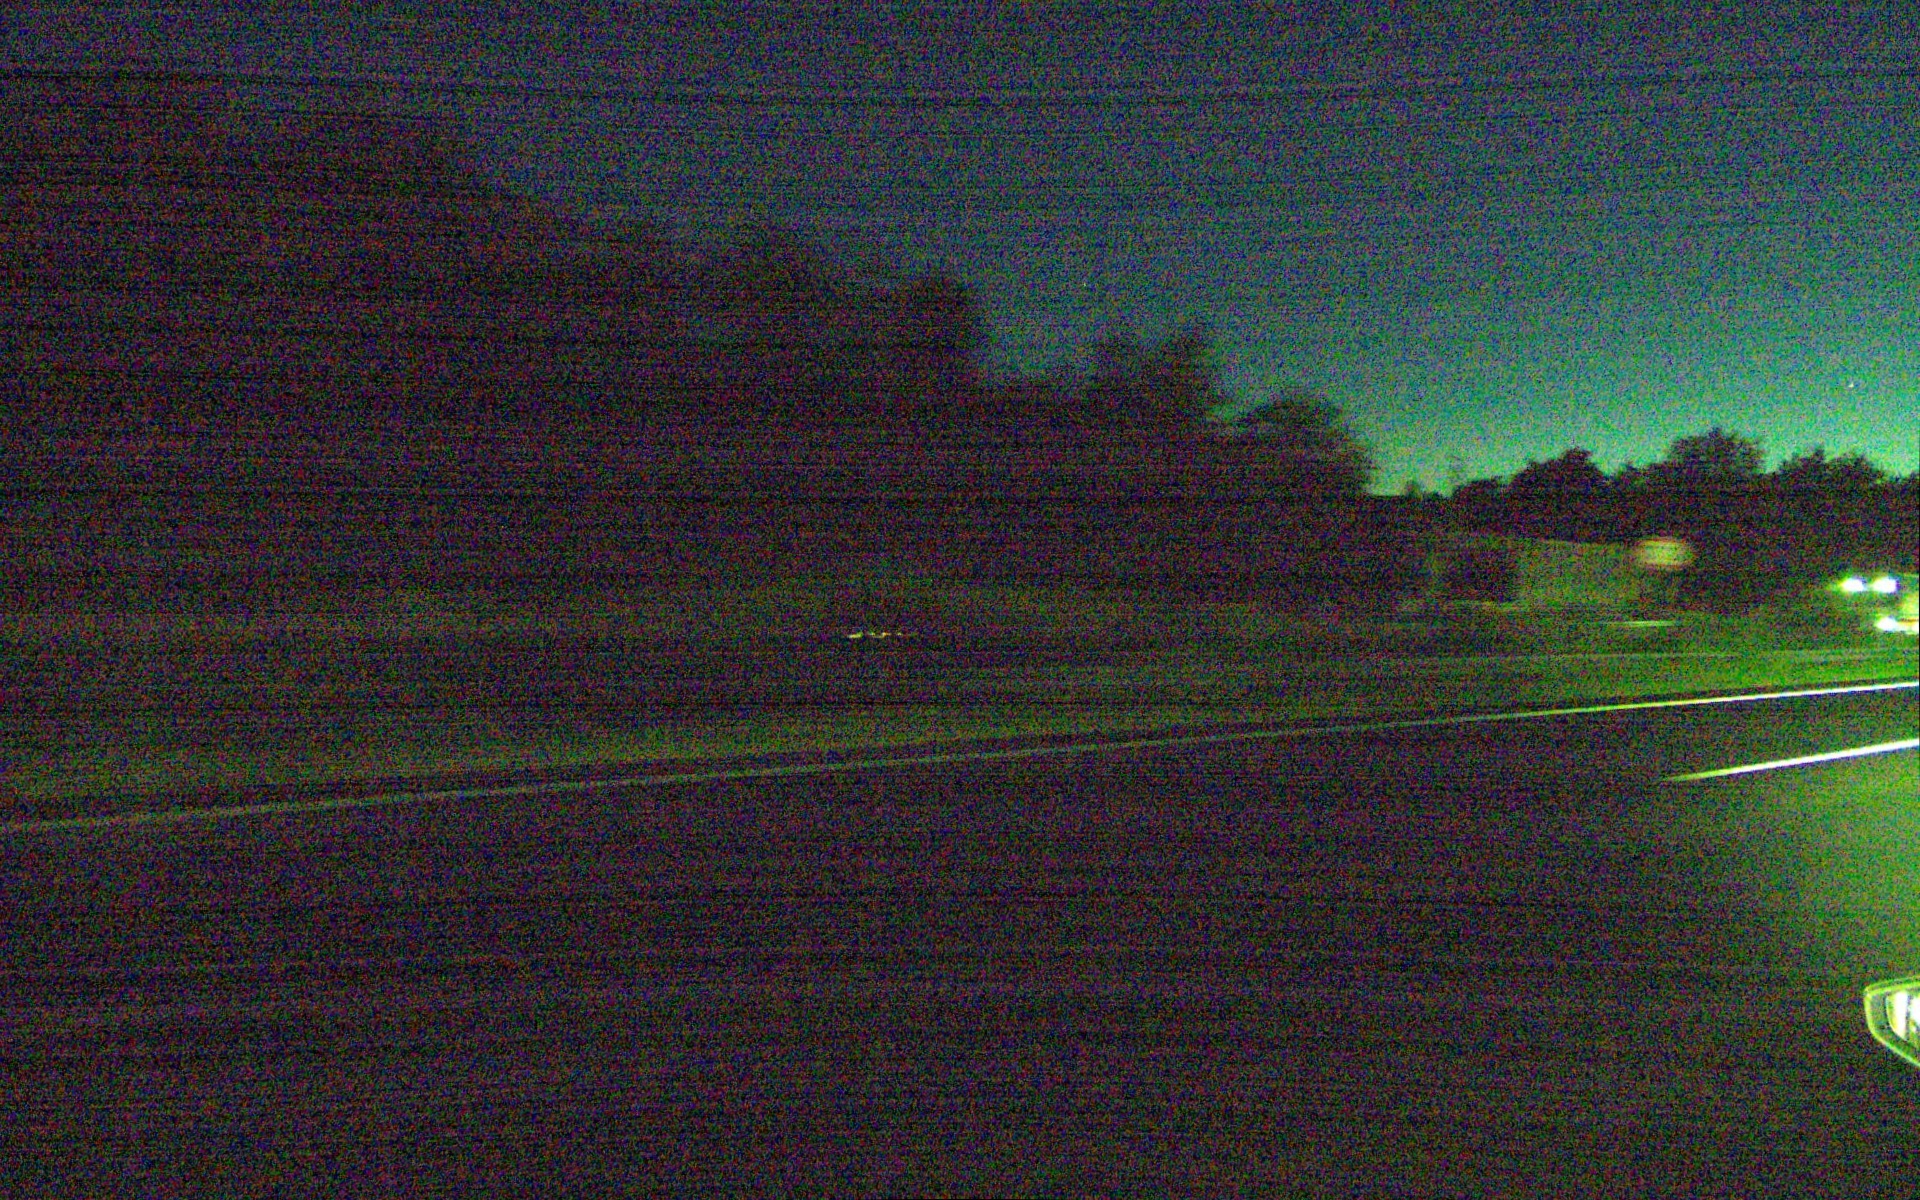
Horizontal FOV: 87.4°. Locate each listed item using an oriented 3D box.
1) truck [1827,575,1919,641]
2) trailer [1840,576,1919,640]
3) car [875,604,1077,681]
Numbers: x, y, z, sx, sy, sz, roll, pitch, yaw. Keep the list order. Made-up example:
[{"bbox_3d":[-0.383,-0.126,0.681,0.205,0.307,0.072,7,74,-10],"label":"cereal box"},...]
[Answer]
[{"bbox_3d":[60.738,0.526,66.503,5.930,4.154,3.569,1,0,-33],"label":"truck"},{"bbox_3d":[66.120,0.606,70.183,13.977,4.144,3.577,1,0,-34],"label":"trailer"},{"bbox_3d":[0.368,0.893,21.867,3.953,1.528,1.984,1,-1,-30],"label":"car"}]
